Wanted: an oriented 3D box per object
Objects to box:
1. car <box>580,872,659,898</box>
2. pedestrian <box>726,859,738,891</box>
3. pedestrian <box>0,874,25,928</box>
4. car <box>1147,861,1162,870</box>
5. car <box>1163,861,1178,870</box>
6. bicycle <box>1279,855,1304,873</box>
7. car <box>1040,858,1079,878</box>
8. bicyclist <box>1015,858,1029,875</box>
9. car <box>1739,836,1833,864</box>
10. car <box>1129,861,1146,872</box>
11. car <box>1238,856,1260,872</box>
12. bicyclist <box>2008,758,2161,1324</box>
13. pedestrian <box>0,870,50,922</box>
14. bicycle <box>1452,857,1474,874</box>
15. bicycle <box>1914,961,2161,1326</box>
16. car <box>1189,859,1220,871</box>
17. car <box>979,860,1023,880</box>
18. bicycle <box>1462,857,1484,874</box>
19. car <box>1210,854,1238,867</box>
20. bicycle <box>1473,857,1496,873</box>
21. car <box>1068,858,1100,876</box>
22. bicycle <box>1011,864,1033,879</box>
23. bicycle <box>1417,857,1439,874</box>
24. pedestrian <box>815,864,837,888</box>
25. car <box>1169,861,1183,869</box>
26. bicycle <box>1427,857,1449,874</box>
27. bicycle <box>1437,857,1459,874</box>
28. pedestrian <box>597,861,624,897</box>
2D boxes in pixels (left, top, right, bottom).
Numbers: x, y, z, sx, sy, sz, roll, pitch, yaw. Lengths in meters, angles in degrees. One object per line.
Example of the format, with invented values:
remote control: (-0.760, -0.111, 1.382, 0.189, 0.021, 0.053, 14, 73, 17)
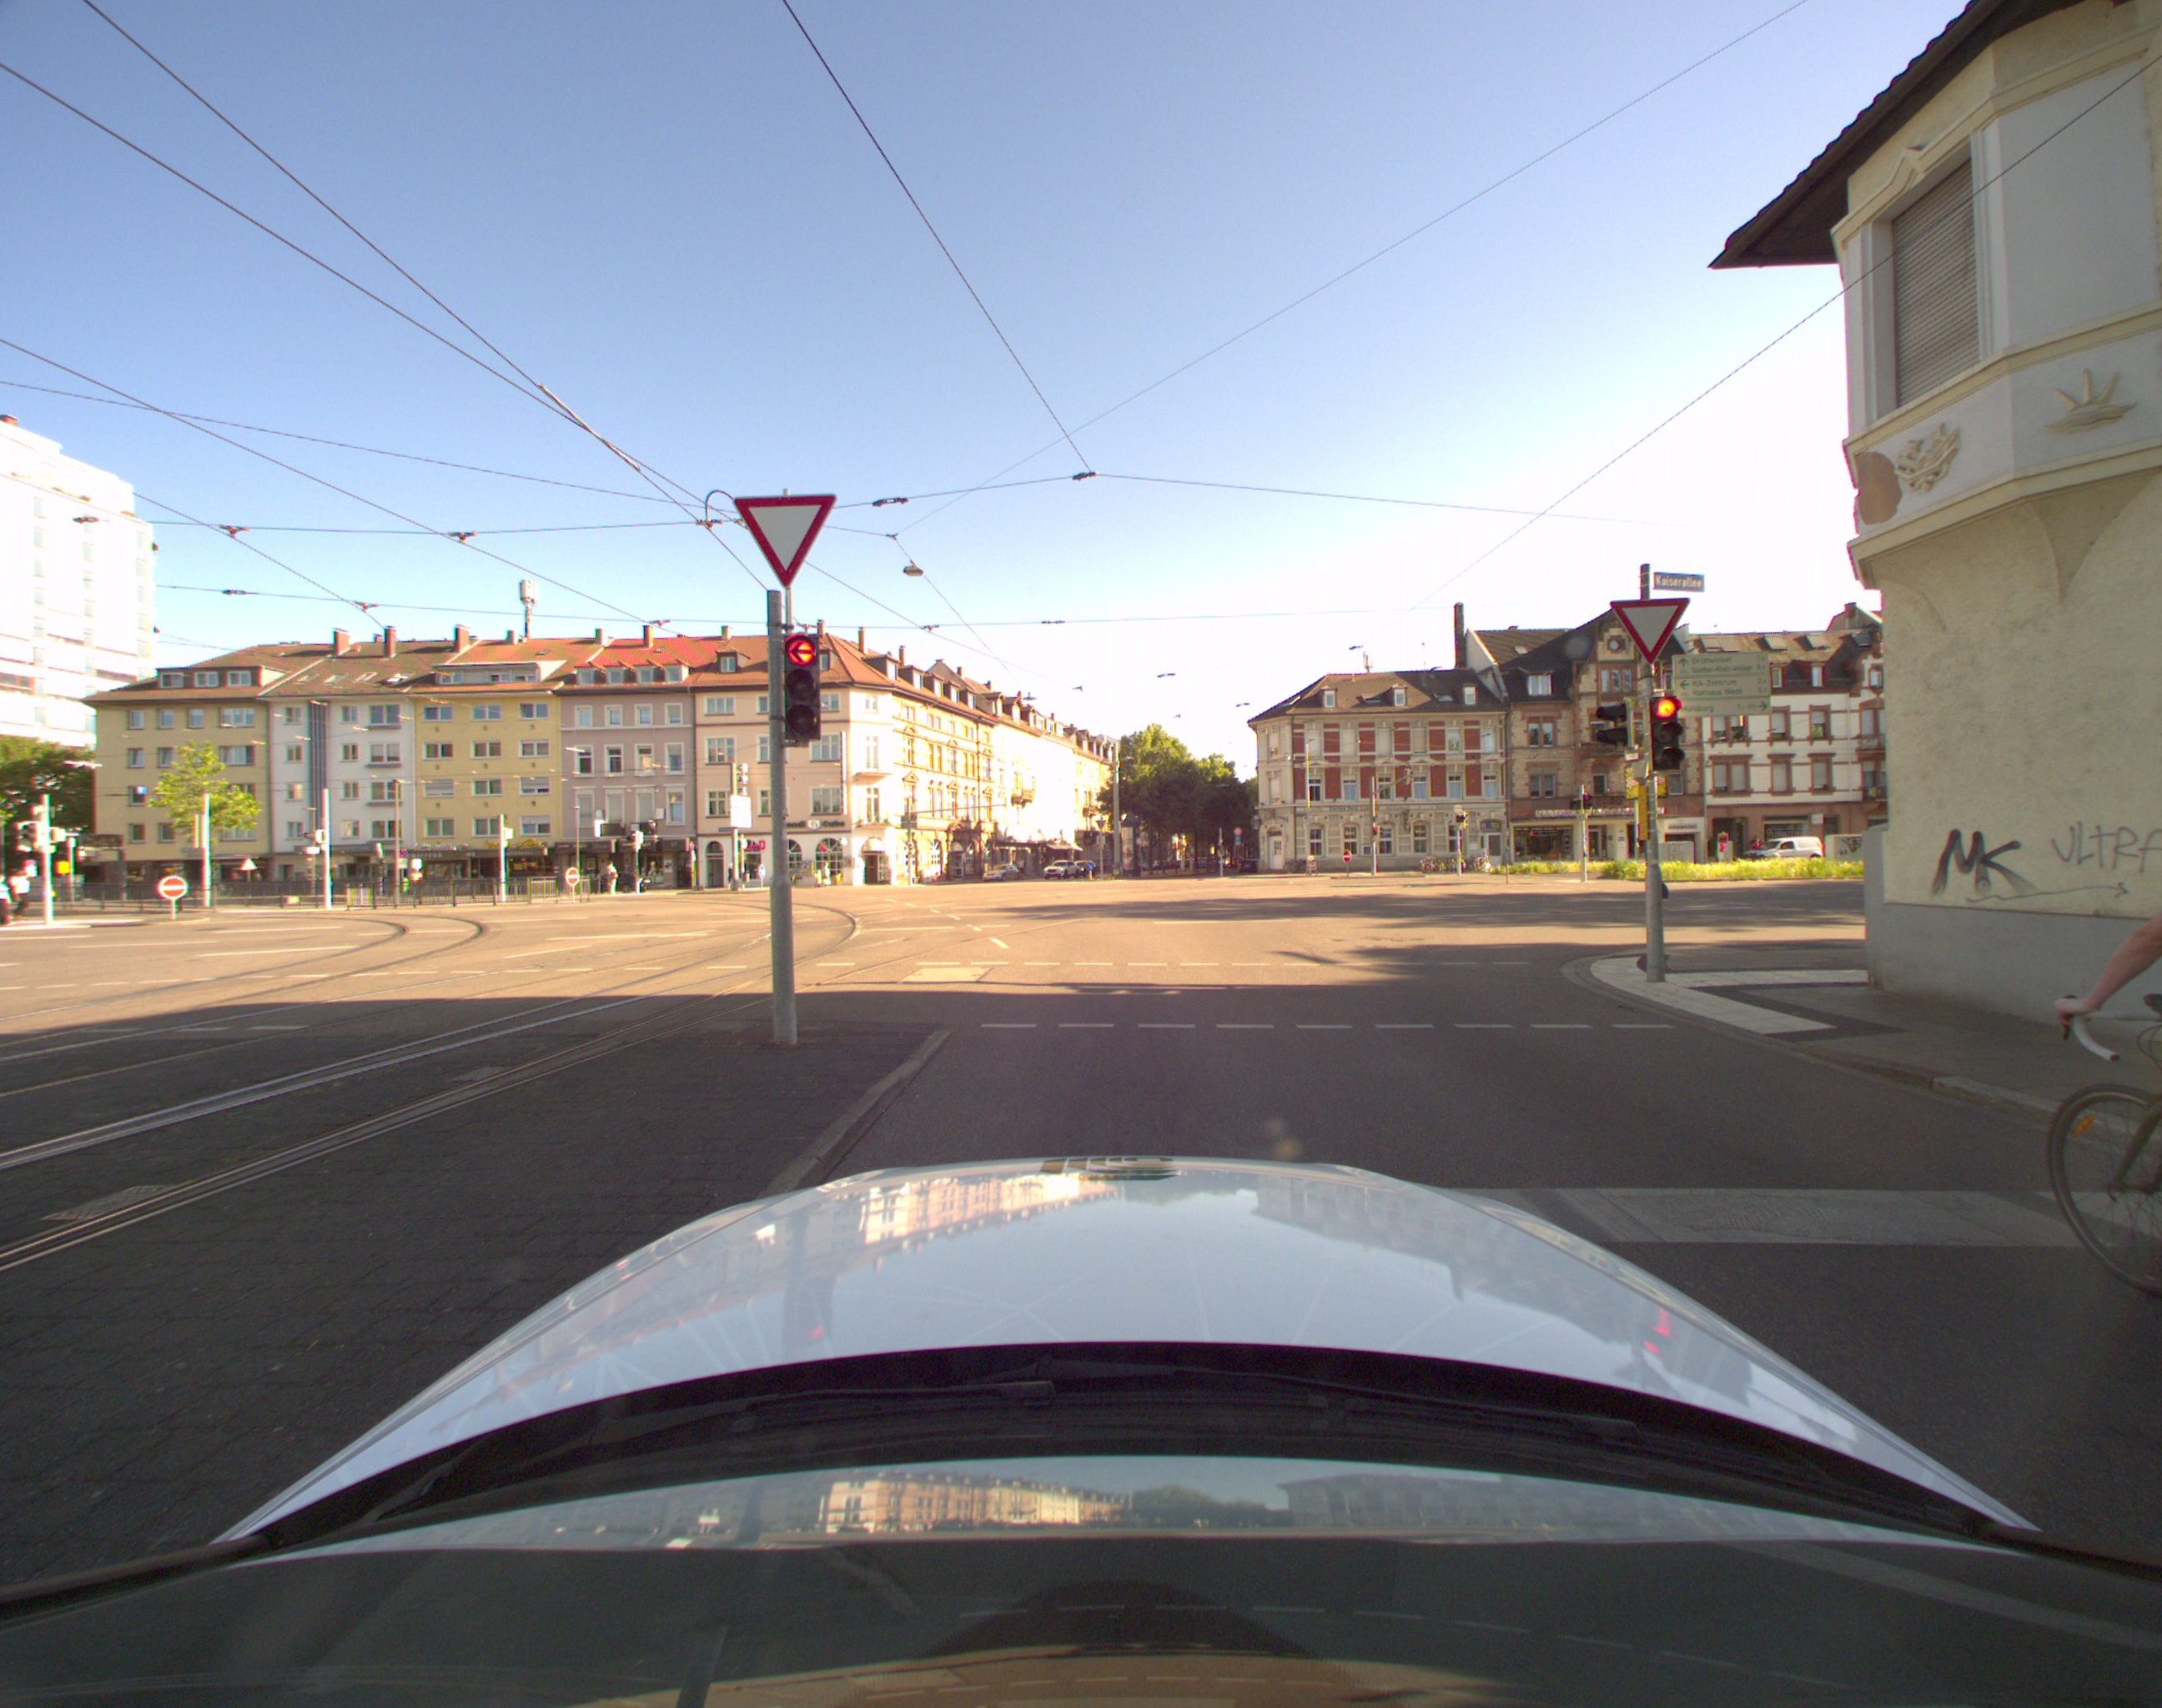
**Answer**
car: (-30.272, 1.995, 53.534, 3.978, 1.464, 1.998, -2, 0, -4)
pedestrian: (-22.775, 1.360, 53.123, 0.506, 2.013, 0.505, -1, 0, 5)
pedestrian: (-33.196, 1.435, 24.908, 0.708, 1.625, 0.799, -1, 0, -1)
car: (11.068, 1.729, 122.710, 1.729, 1.397, 4.137, 1, 0, 12)
car: (14.445, 1.811, 131.457, 1.728, 1.397, 4.141, 1, 0, 16)
bicycle: (14.698, 0.688, 56.940, 1.625, 1.222, 0.609, -1, 0, 18)
car: (-1.728, 1.163, 67.370, 2.080, 1.499, 4.017, -2, 0, 16)
bicyclist: (-4.764, 0.987, 65.872, 0.787, 1.375, 1.113, -1, 0, 16)
car: (45.387, -0.238, 52.472, 4.356, 1.654, 1.999, -1, 0, -2)
car: (7.606, 1.651, 110.003, 1.729, 1.397, 4.137, 1, 0, 12)
car: (16.908, 0.989, 82.052, 1.637, 1.524, 3.772, -2, -1, 20)
bicyclist: (3.576, 0.569, 2.351, 0.557, 1.730, 1.084, 0, -1, 2)
pedestrian: (-35.826, 1.421, 27.616, 0.694, 1.698, 0.781, -1, 0, -1)
bicycle: (24.642, 0.718, 52.570, 0.603, 1.051, 1.641, -1, 0, -3)
bicycle: (3.579, 0.941, 2.370, 0.530, 1.016, 1.759, -1, 0, 2)
car: (17.490, 1.525, 114.993, 4.078, 1.646, 1.754, 1, 0, 17)
car: (-6.595, 1.304, 67.700, 2.080, 1.545, 4.382, -2, 0, 16)
bicycle: (25.317, 0.713, 52.619, 0.603, 1.051, 1.641, -1, 0, -3)
car: (23.377, 1.086, 133.072, 4.074, 1.919, 1.756, 1, 0, 23)
bicycle: (26.055, 0.707, 52.612, 0.603, 1.051, 1.641, -1, 0, -3)
car: (0.294, 1.151, 73.693, 1.979, 1.513, 4.015, -1, 0, 14)
bicycle: (-4.766, 1.431, 65.900, 0.745, 1.135, 2.821, -1, 0, 16)
bicycle: (22.498, 0.736, 52.840, 0.603, 1.051, 1.641, -1, 0, -3)
pedestrian: (-17.243, 1.458, 55.072, 1.060, 1.591, 1.043, -1, 0, 4)
car: (15.869, 1.834, 136.204, 1.728, 1.397, 4.141, 1, 0, 16)
bicycle: (23.152, 0.731, 52.870, 0.603, 1.051, 1.641, -1, 0, -3)
bicycle: (23.815, 0.726, 52.870, 0.603, 1.051, 1.641, -1, 0, -3)
pedestrian: (-24.568, 1.313, 42.557, 0.871, 1.818, 0.811, -1, 0, 2)
